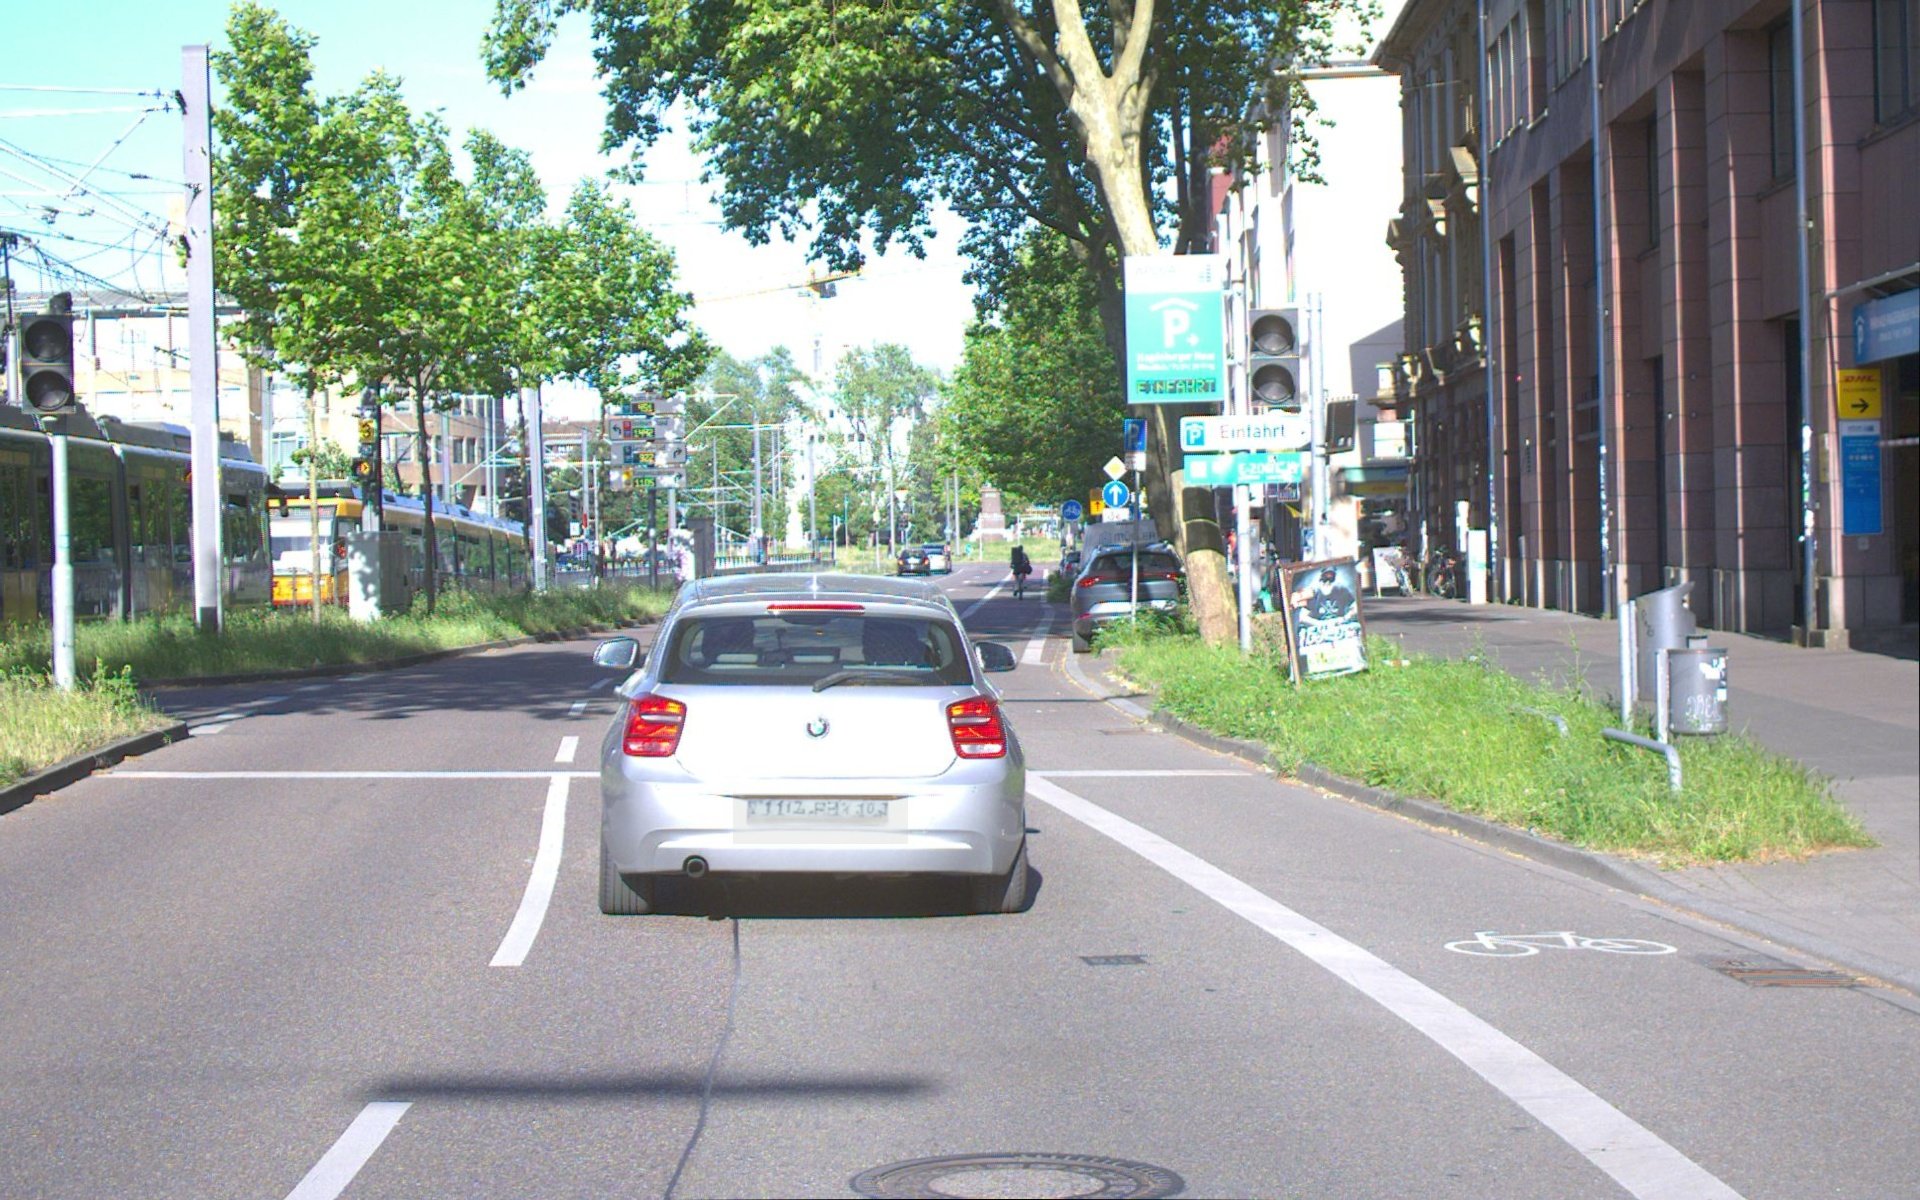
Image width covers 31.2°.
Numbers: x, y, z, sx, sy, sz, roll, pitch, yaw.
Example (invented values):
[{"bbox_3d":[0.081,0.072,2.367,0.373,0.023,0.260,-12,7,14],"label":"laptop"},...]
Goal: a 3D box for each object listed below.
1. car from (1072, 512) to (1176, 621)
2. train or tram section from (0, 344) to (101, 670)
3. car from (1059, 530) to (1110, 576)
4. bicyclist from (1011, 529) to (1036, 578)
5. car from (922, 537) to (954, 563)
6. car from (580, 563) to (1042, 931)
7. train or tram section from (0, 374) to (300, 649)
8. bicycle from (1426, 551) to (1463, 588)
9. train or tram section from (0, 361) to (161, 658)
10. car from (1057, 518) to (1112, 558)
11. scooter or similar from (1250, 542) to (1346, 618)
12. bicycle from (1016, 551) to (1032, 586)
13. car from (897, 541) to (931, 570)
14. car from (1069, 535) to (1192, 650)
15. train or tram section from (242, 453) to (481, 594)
[{"bbox_3d":[3.107,-0.658,65.903,1.856,2.007,4.724,1,1,1],"label":"car"},{"bbox_3d":[-12.653,-1.063,37.964,2.928,3.799,14.274,1,1,-1],"label":"train or tram section"},{"bbox_3d":[4.498,-1.711,124.593,1.694,1.497,3.801,-3,1,1],"label":"car"},{"bbox_3d":[1.988,-1.445,107.671,0.785,1.526,0.895,1,1,2],"label":"bicyclist"},{"bbox_3d":[-1.190,-2.732,188.662,1.644,1.416,4.000,0,1,2],"label":"car"},{"bbox_3d":[-0.627,0.555,15.492,1.798,1.410,4.000,1,1,-1],"label":"car"},{"bbox_3d":[-12.900,-1.346,54.374,2.952,3.883,10.803,1,1,-1],"label":"train or tram section"},{"bbox_3d":[10.466,-0.661,74.277,0.549,0.771,1.663,-3,1,1],"label":"bicycle"},{"bbox_3d":[-12.847,-1.231,47.032,2.955,3.883,3.866,1,1,-1],"label":"train or tram section"},{"bbox_3d":[4.777,-2.389,132.169,2.038,1.504,4.594,-1,1,2],"label":"car"},{"bbox_3d":[5.639,-0.331,57.376,1.541,1.233,0.449,-1,1,3],"label":"scooter or similar"},{"bbox_3d":[2.006,-0.988,107.581,0.499,1.085,1.997,1,1,2],"label":"bicycle"},{"bbox_3d":[-2.436,-2.328,180.610,1.726,1.465,4.411,-1,1,-1],"label":"car"},{"bbox_3d":[2.444,-0.133,49.227,1.668,1.565,4.279,1,1,3],"label":"car"},{"bbox_3d":[-16.250,-2.109,95.407,2.963,3.472,21.219,0,1,0],"label":"train or tram section"}]
